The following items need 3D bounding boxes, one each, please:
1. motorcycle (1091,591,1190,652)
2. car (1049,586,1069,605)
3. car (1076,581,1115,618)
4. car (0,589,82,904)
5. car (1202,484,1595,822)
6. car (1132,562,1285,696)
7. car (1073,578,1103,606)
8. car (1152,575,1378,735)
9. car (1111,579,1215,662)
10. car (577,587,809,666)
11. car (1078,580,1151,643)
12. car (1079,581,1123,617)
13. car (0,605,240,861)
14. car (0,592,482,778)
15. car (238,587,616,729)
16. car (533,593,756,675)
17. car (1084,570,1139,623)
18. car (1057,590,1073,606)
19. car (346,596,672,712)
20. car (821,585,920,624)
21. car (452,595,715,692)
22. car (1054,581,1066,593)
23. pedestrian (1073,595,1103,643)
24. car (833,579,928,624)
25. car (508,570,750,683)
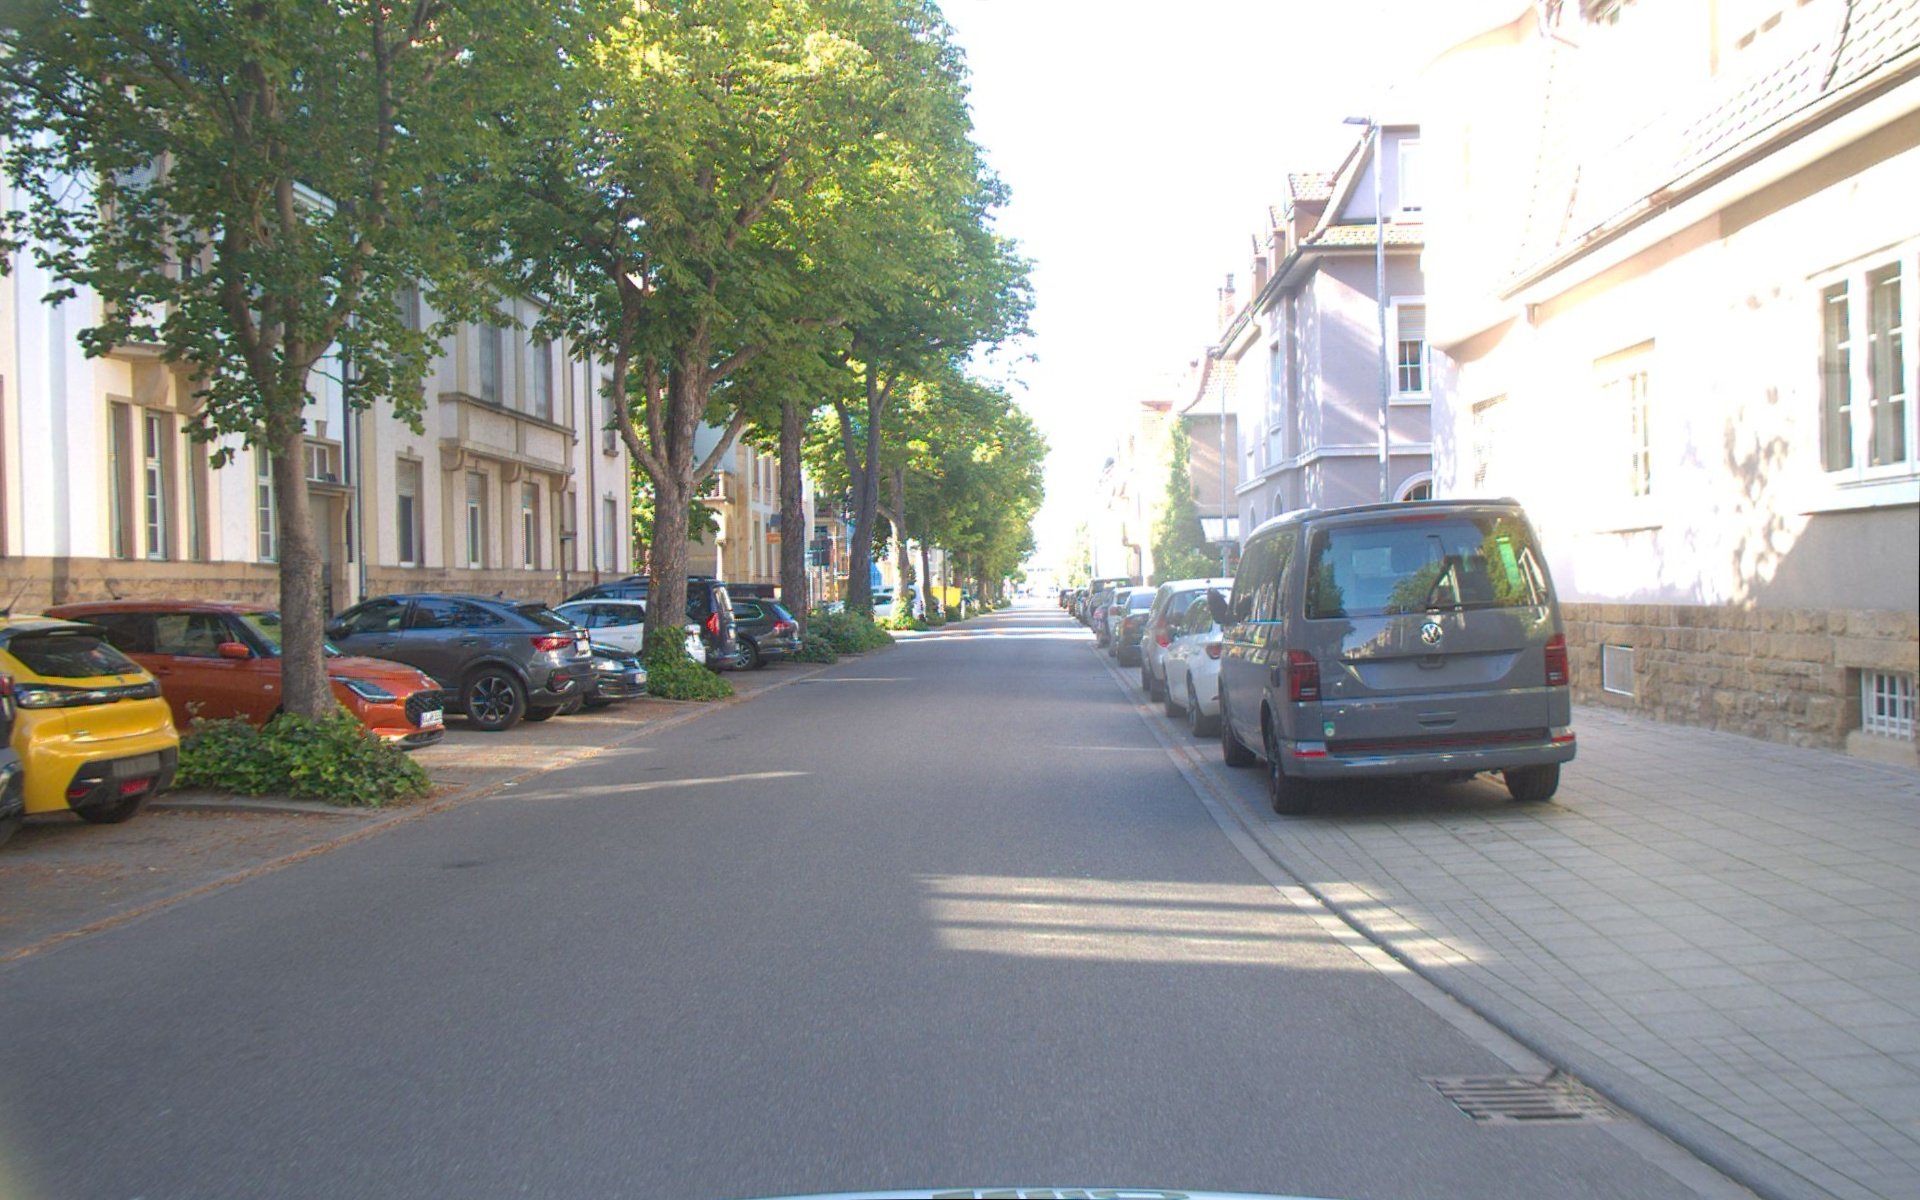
[{"bbox_3d":[4.209,0.487,38.653,2.151,1.362,0.920,1,1,-6],"label":"motorcycle"},{"bbox_3d":[9.262,-0.436,154.627,1.734,1.659,3.868,-1,1,4],"label":"car"},{"bbox_3d":[6.343,-0.055,77.705,1.752,1.646,3.868,-1,1,4],"label":"car"},{"bbox_3d":[-6.812,0.748,8.239,3.903,1.594,1.864,0,0,4],"label":"car"},{"bbox_3d":[3.009,0.302,12.435,1.826,1.949,4.784,-3,0,3],"label":"car"},{"bbox_3d":[3.472,0.341,23.737,1.752,1.628,4.003,-4,1,4],"label":"car"},{"bbox_3d":[7.743,-0.499,100.316,1.734,1.659,3.868,-1,1,4],"label":"car"},{"bbox_3d":[3.202,0.511,18.161,1.644,1.483,4.439,-2,0,0],"label":"car"},{"bbox_3d":[4.142,0.379,34.349,1.816,1.519,4.610,-3,0,4],"label":"car"},{"bbox_3d":[-5.483,0.528,34.345,4.438,1.529,1.892,-1,0,1],"label":"car"},{"bbox_3d":[4.264,0.289,46.125,1.664,1.566,4.156,-4,0,1],"label":"car"},{"bbox_3d":[6.124,-0.060,72.182,1.655,1.422,3.807,-4,0,3],"label":"car"},{"bbox_3d":[-6.956,0.791,10.753,3.710,1.487,1.864,0,0,4],"label":"car"},{"bbox_3d":[-6.543,0.732,14.947,3.904,1.541,1.748,-1,0,3],"label":"car"},{"bbox_3d":[-6.300,0.658,19.858,3.904,1.620,1.860,0,0,2],"label":"car"},{"bbox_3d":[-6.024,0.639,31.868,3.897,1.462,1.829,-1,0,0],"label":"car"},{"bbox_3d":[5.937,-0.166,65.351,1.865,1.903,4.675,-4,0,3],"label":"car"},{"bbox_3d":[11.640,-0.263,183.121,1.734,1.659,3.868,-1,1,4],"label":"car"},{"bbox_3d":[-6.031,0.697,22.356,3.819,1.471,1.861,0,0,8],"label":"car"},{"bbox_3d":[-3.605,0.172,66.887,3.906,1.490,1.797,1,0,-1],"label":"car"},{"bbox_3d":[-6.113,0.691,27.157,3.906,1.473,1.741,-1,0,-1],"label":"car"},{"bbox_3d":[14.952,-1.954,246.264,1.734,1.659,3.868,-1,1,4],"label":"car"},{"bbox_3d":[3.503,0.522,45.308,0.709,1.279,0.646,-2,0,-4],"label":"pedestrian"},{"bbox_3d":[-3.305,0.054,69.215,3.906,1.791,1.798,1,0,-1],"label":"car"},{"bbox_3d":[-5.856,0.454,29.556,3.897,1.888,1.829,-1,0,1],"label":"car"}]
